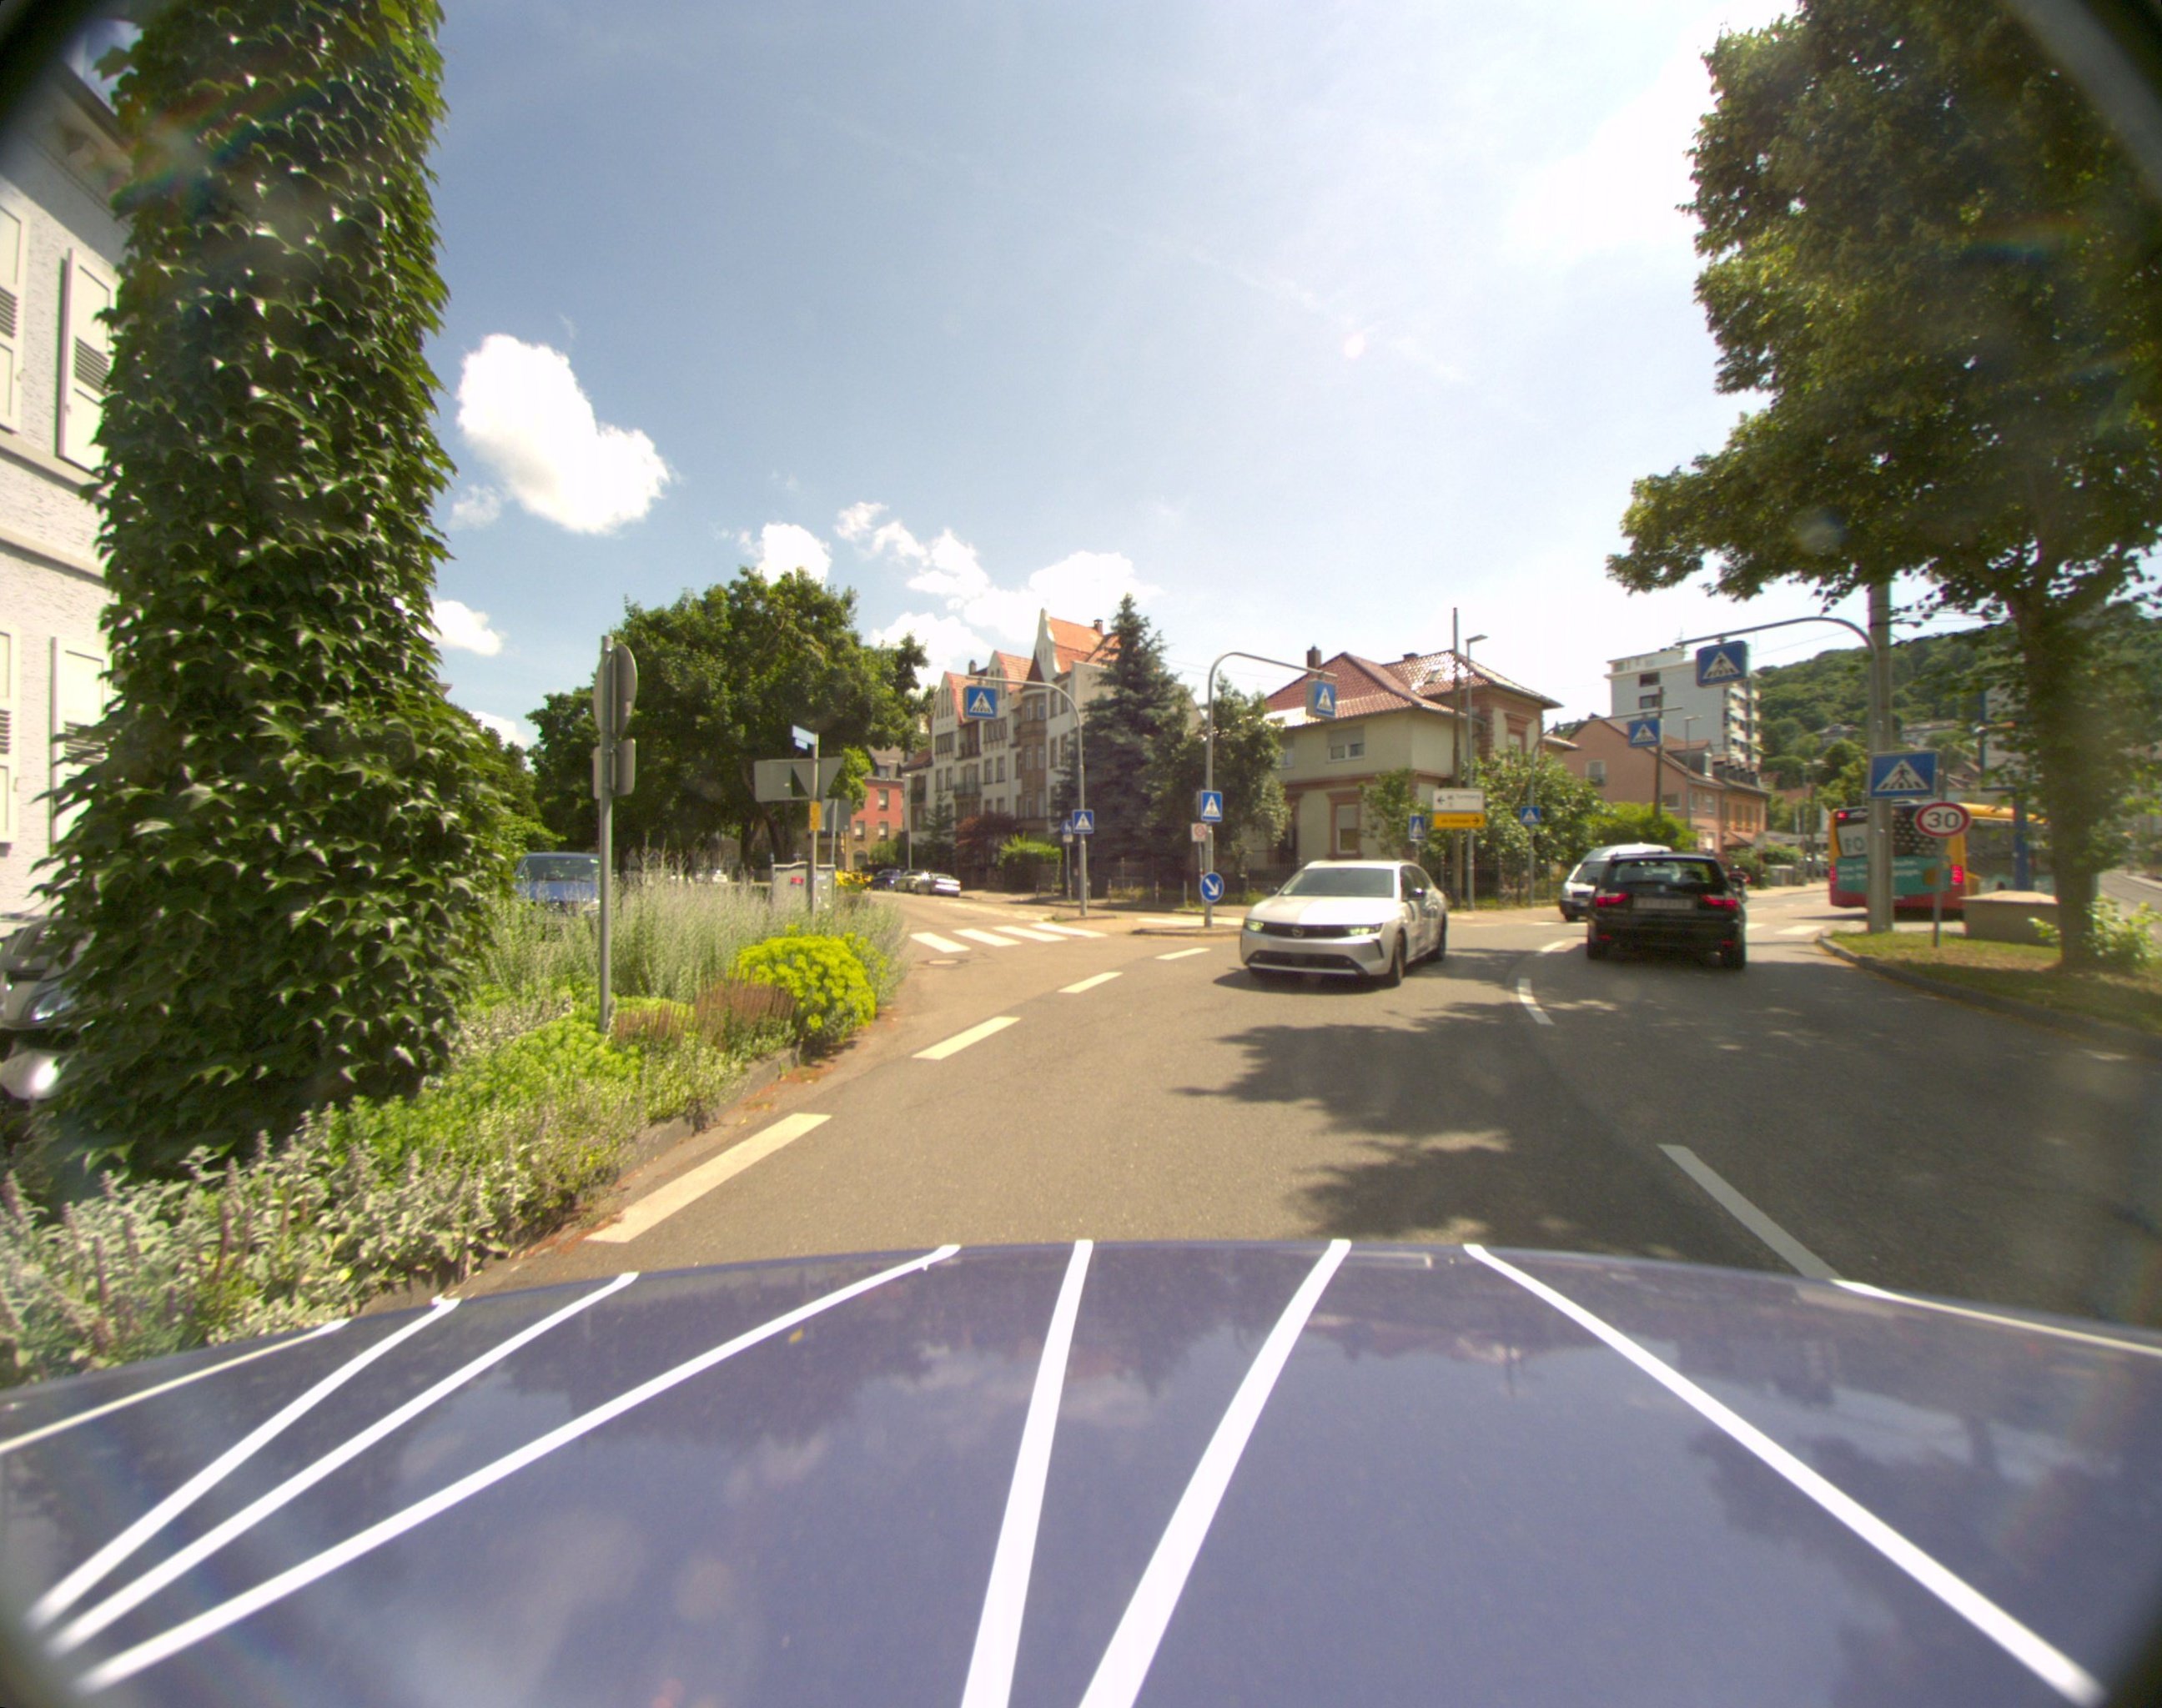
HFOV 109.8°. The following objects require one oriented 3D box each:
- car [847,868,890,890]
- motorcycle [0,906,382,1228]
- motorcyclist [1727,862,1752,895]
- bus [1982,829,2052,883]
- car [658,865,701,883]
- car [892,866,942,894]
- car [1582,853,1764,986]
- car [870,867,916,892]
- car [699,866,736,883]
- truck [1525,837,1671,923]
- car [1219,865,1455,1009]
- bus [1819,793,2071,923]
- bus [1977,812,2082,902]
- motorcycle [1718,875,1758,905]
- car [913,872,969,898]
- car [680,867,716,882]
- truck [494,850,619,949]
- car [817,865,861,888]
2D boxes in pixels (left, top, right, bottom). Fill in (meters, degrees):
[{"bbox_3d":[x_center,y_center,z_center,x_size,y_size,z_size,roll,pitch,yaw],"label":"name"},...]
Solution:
[{"bbox_3d":[-15.817,1.835,56.505,1.779,1.379,3.990,6,-4,-34],"label":"car"},{"bbox_3d":[-5.561,1.070,4.603,0.803,1.344,2.336,-1,0,-10],"label":"motorcycle"},{"bbox_3d":[24.800,0.920,28.607,0.556,1.236,0.539,0,0,-29],"label":"motorcyclist"},{"bbox_3d":[60.031,0.158,48.911,10.177,3.170,2.569,0,0,-41],"label":"bus"},{"bbox_3d":[-37.992,1.903,71.898,4.173,1.608,2.004,-1,0,37],"label":"car"},{"bbox_3d":[-10.290,1.604,47.421,1.778,1.506,3.991,6,-4,-30],"label":"car"},{"bbox_3d":[9.084,0.822,11.653,1.856,1.622,4.338,1,0,40],"label":"car"},{"bbox_3d":[-12.864,1.725,51.795,1.778,1.506,3.990,6,-4,-32],"label":"car"},{"bbox_3d":[-37.976,2.124,79.338,4.173,1.608,2.004,-1,0,41],"label":"car"},{"bbox_3d":[15.269,0.741,22.307,5.419,2.235,2.016,1,-2,-39],"label":"truck"},{"bbox_3d":[3.526,0.884,9.915,1.797,1.457,4.180,-1,-1,35],"label":"car"},{"bbox_3d":[26.317,0.147,22.933,10.876,3.277,2.702,0,-1,-29],"label":"bus"},{"bbox_3d":[43.863,0.175,35.153,12.233,3.586,2.690,0,0,-38],"label":"bus"},{"bbox_3d":[24.690,1.337,28.550,1.438,1.051,0.668,0,0,-28],"label":"motorcycle"},{"bbox_3d":[-7.963,1.733,42.950,1.822,1.318,3.991,1,-1,-30],"label":"car"},{"bbox_3d":[-41.531,2.206,82.340,4.173,1.608,2.004,-1,0,41],"label":"car"},{"bbox_3d":[-11.789,0.949,17.402,1.919,1.914,5.269,1,-2,-30],"label":"truck"},{"bbox_3d":[-19.425,1.809,60.941,1.779,1.604,3.864,7,-4,-42],"label":"car"}]
